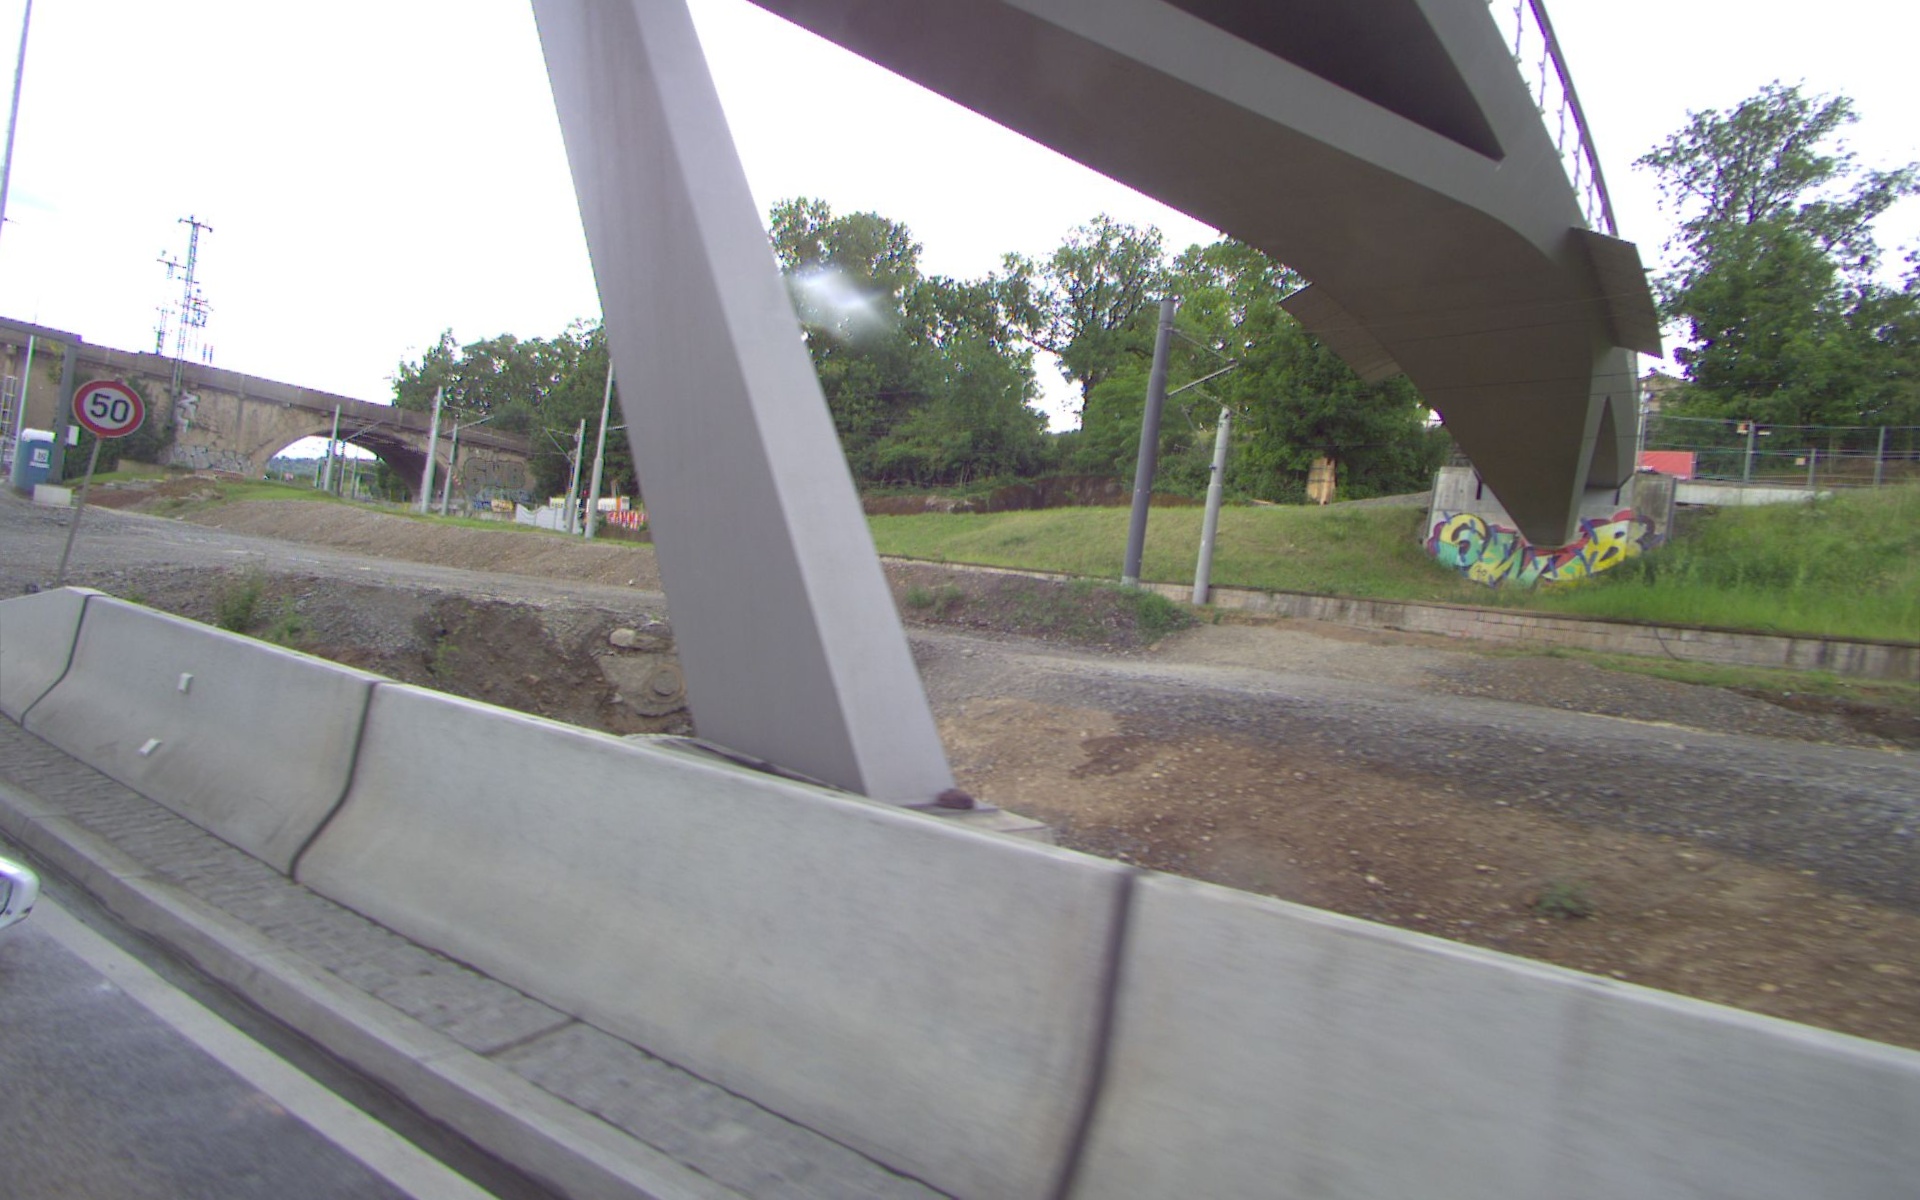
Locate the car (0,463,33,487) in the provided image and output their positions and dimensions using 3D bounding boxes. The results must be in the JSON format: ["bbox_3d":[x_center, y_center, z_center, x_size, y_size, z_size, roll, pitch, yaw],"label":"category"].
[{"bbox_3d":[-102.442,-13.553,108.390,1.877,1.829,4.471,8,-3,-18],"label":"car"}]
